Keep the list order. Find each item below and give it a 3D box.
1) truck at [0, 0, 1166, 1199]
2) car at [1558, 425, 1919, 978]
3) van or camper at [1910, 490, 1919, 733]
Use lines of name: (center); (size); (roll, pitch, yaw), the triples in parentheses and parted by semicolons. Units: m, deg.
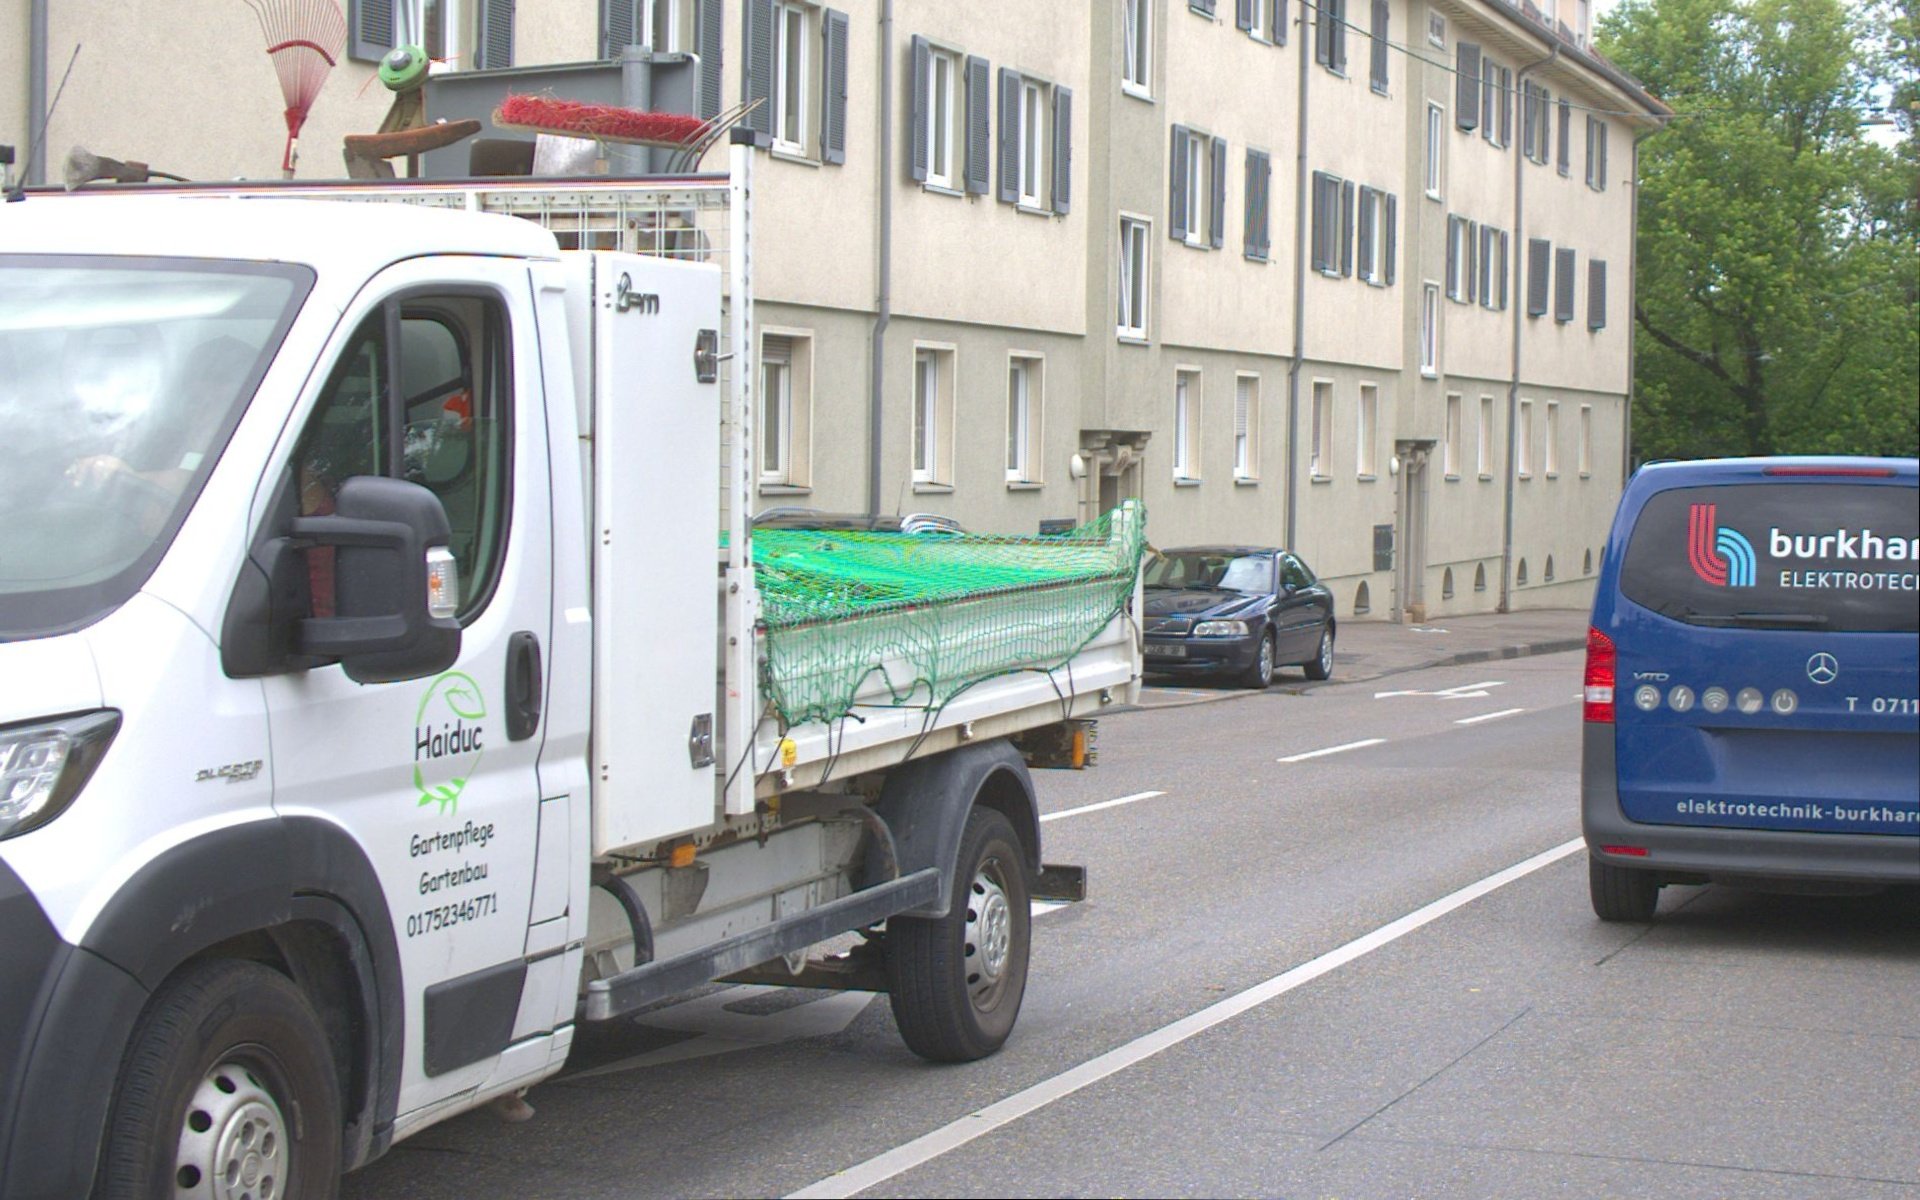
truck: (-1.388, -0.016, 8.328); (1.995, 2.691, 6.401); (0, 0, 20)
car: (3.853, 0.305, 14.534); (1.949, 1.958, 4.538); (2, 2, 18)
van or camper: (9.695, 0.112, 30.484); (1.996, 2.007, 5.091); (2, 1, 20)
